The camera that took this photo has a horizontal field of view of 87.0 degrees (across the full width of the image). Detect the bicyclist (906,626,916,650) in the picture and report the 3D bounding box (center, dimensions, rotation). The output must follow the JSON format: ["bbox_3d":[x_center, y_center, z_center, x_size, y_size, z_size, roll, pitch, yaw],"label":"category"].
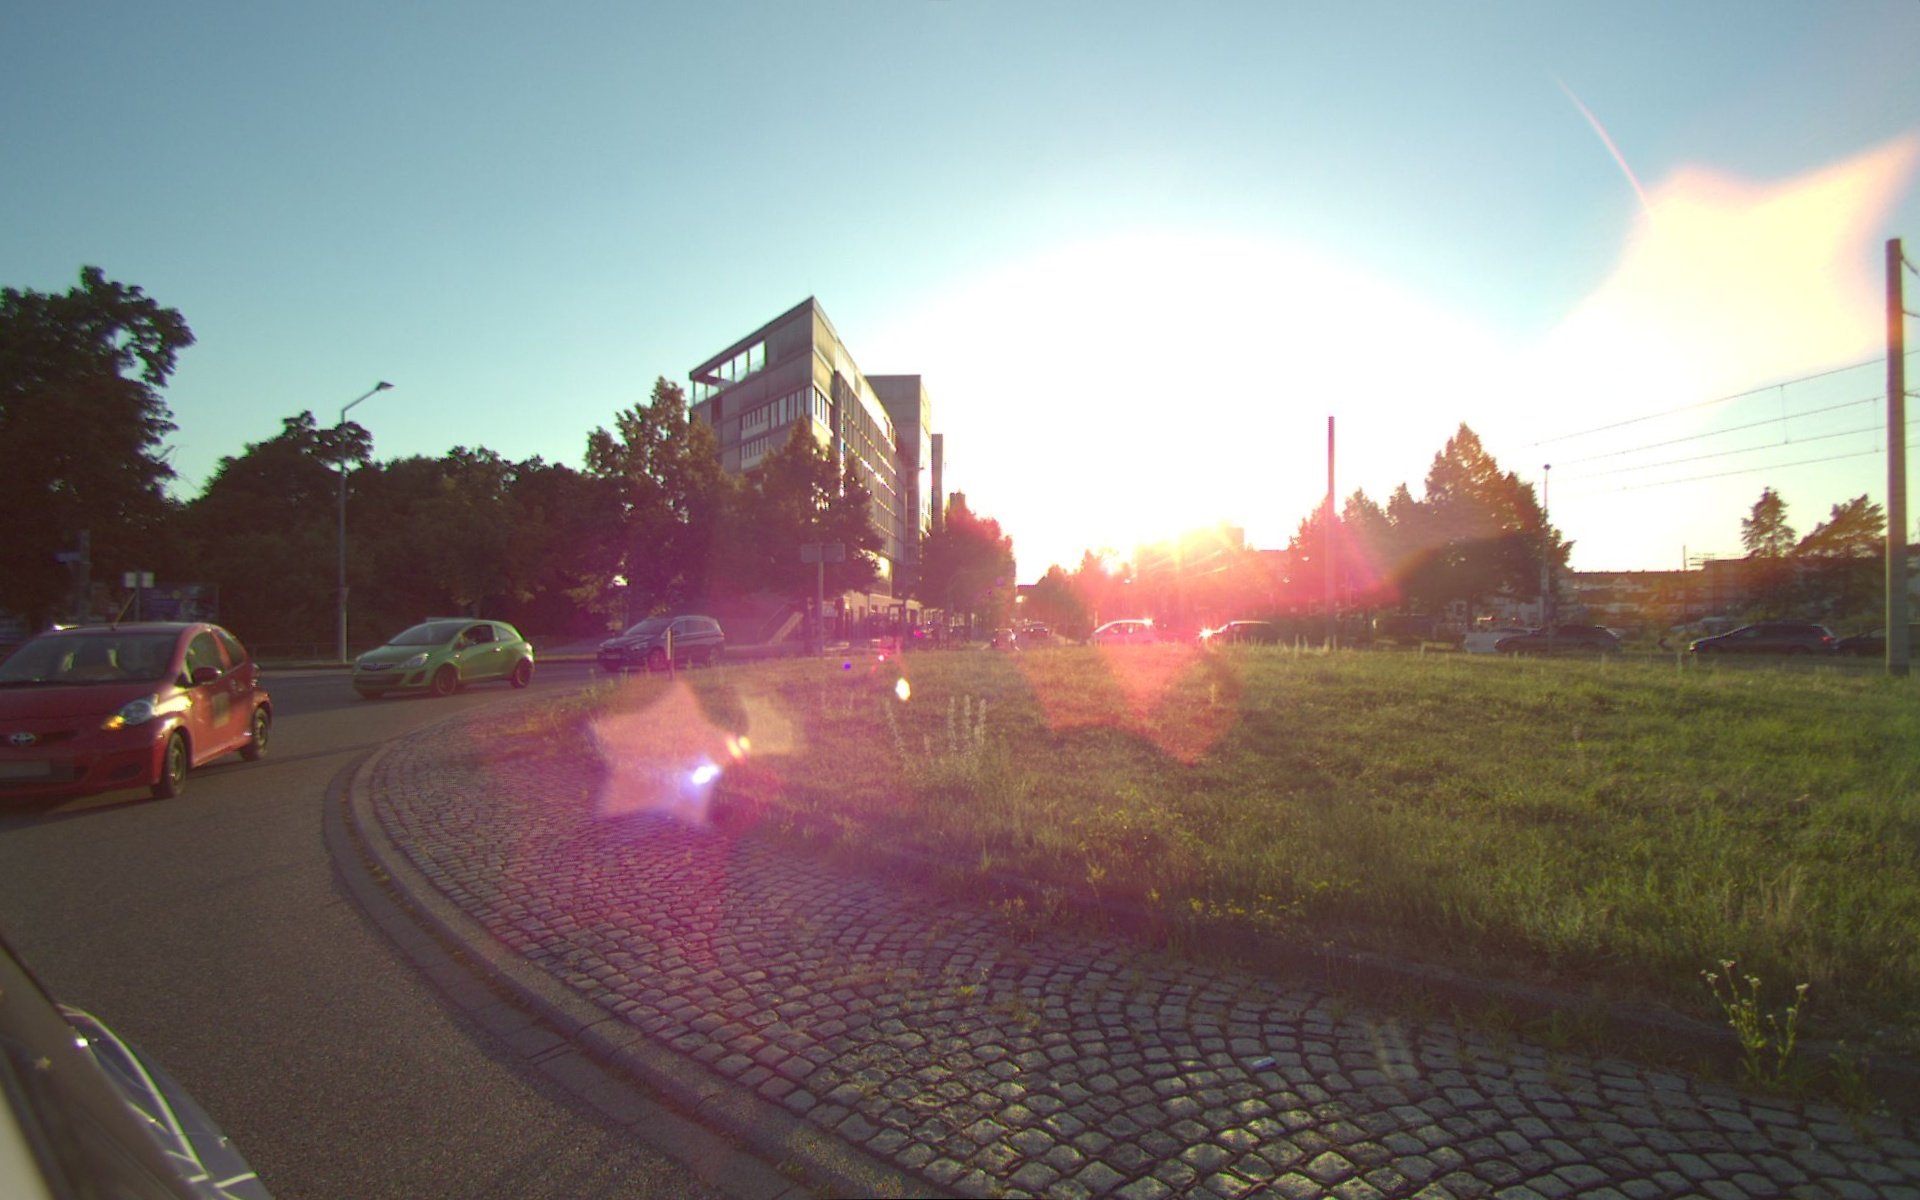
[{"bbox_3d":[-3.072,2.352,62.990,0.602,1.451,0.692,0,-1,-2],"label":"bicyclist"}]

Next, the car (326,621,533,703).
[{"bbox_3d":[-10.243,1.139,19.914,1.669,1.431,3.991,0,-1,7],"label":"car"}]

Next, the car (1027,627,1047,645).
[{"bbox_3d":[8.337,3.908,109.773,1.973,1.827,5.301,-2,-2,2],"label":"car"}]

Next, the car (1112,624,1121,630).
[{"bbox_3d":[39.237,6.791,253.861,1.976,1.464,3.992,0,-1,6],"label":"car"}]

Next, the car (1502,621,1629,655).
[{"bbox_3d":[25.729,1.595,43.108,4.351,1.386,1.972,-1,-2,42],"label":"car"}]

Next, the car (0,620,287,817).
[{"bbox_3d":[-7.687,0.901,9.253,1.660,1.431,4.013,0,-1,-20],"label":"car"}]

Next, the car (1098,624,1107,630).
[{"bbox_3d":[36.327,6.936,258.020,1.976,1.464,3.992,0,-1,6],"label":"car"}]

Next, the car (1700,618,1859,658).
[{"bbox_3d":[30.632,1.384,37.923,1.969,1.386,4.389,1,-2,-42],"label":"car"}]

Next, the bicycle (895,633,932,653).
[{"bbox_3d":[-2.891,2.676,62.968,2.315,1.254,0.742,0,-1,0],"label":"bicycle"}]

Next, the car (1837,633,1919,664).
[{"bbox_3d":[36.137,1.820,38.396,1.661,1.113,4.011,0,-1,-32],"label":"car"}]

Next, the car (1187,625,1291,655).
[{"bbox_3d":[13.165,1.888,47.944,4.325,1.386,1.999,0,-1,2],"label":"car"}]

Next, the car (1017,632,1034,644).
[{"bbox_3d":[8.709,5.088,134.822,1.973,1.464,3.998,0,-1,1],"label":"car"}]

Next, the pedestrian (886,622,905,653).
[{"bbox_3d":[-4.228,2.455,66.180,0.995,2.029,0.768,-1,0,29],"label":"pedestrian"}]

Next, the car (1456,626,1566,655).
[{"bbox_3d":[27.993,2.020,51.577,2.074,1.377,4.480,0,-1,-31],"label":"car"}]

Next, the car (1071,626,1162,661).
[{"bbox_3d":[7.342,2.040,47.715,3.831,1.592,1.958,0,-1,-7],"label":"car"}]

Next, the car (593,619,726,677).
[{"bbox_3d":[-8.891,1.369,30.331,1.720,1.590,4.304,-1,-1,18],"label":"car"}]

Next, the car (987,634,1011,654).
[{"bbox_3d":[2.911,3.263,74.786,1.728,1.389,4.121,0,-1,3],"label":"car"}]
